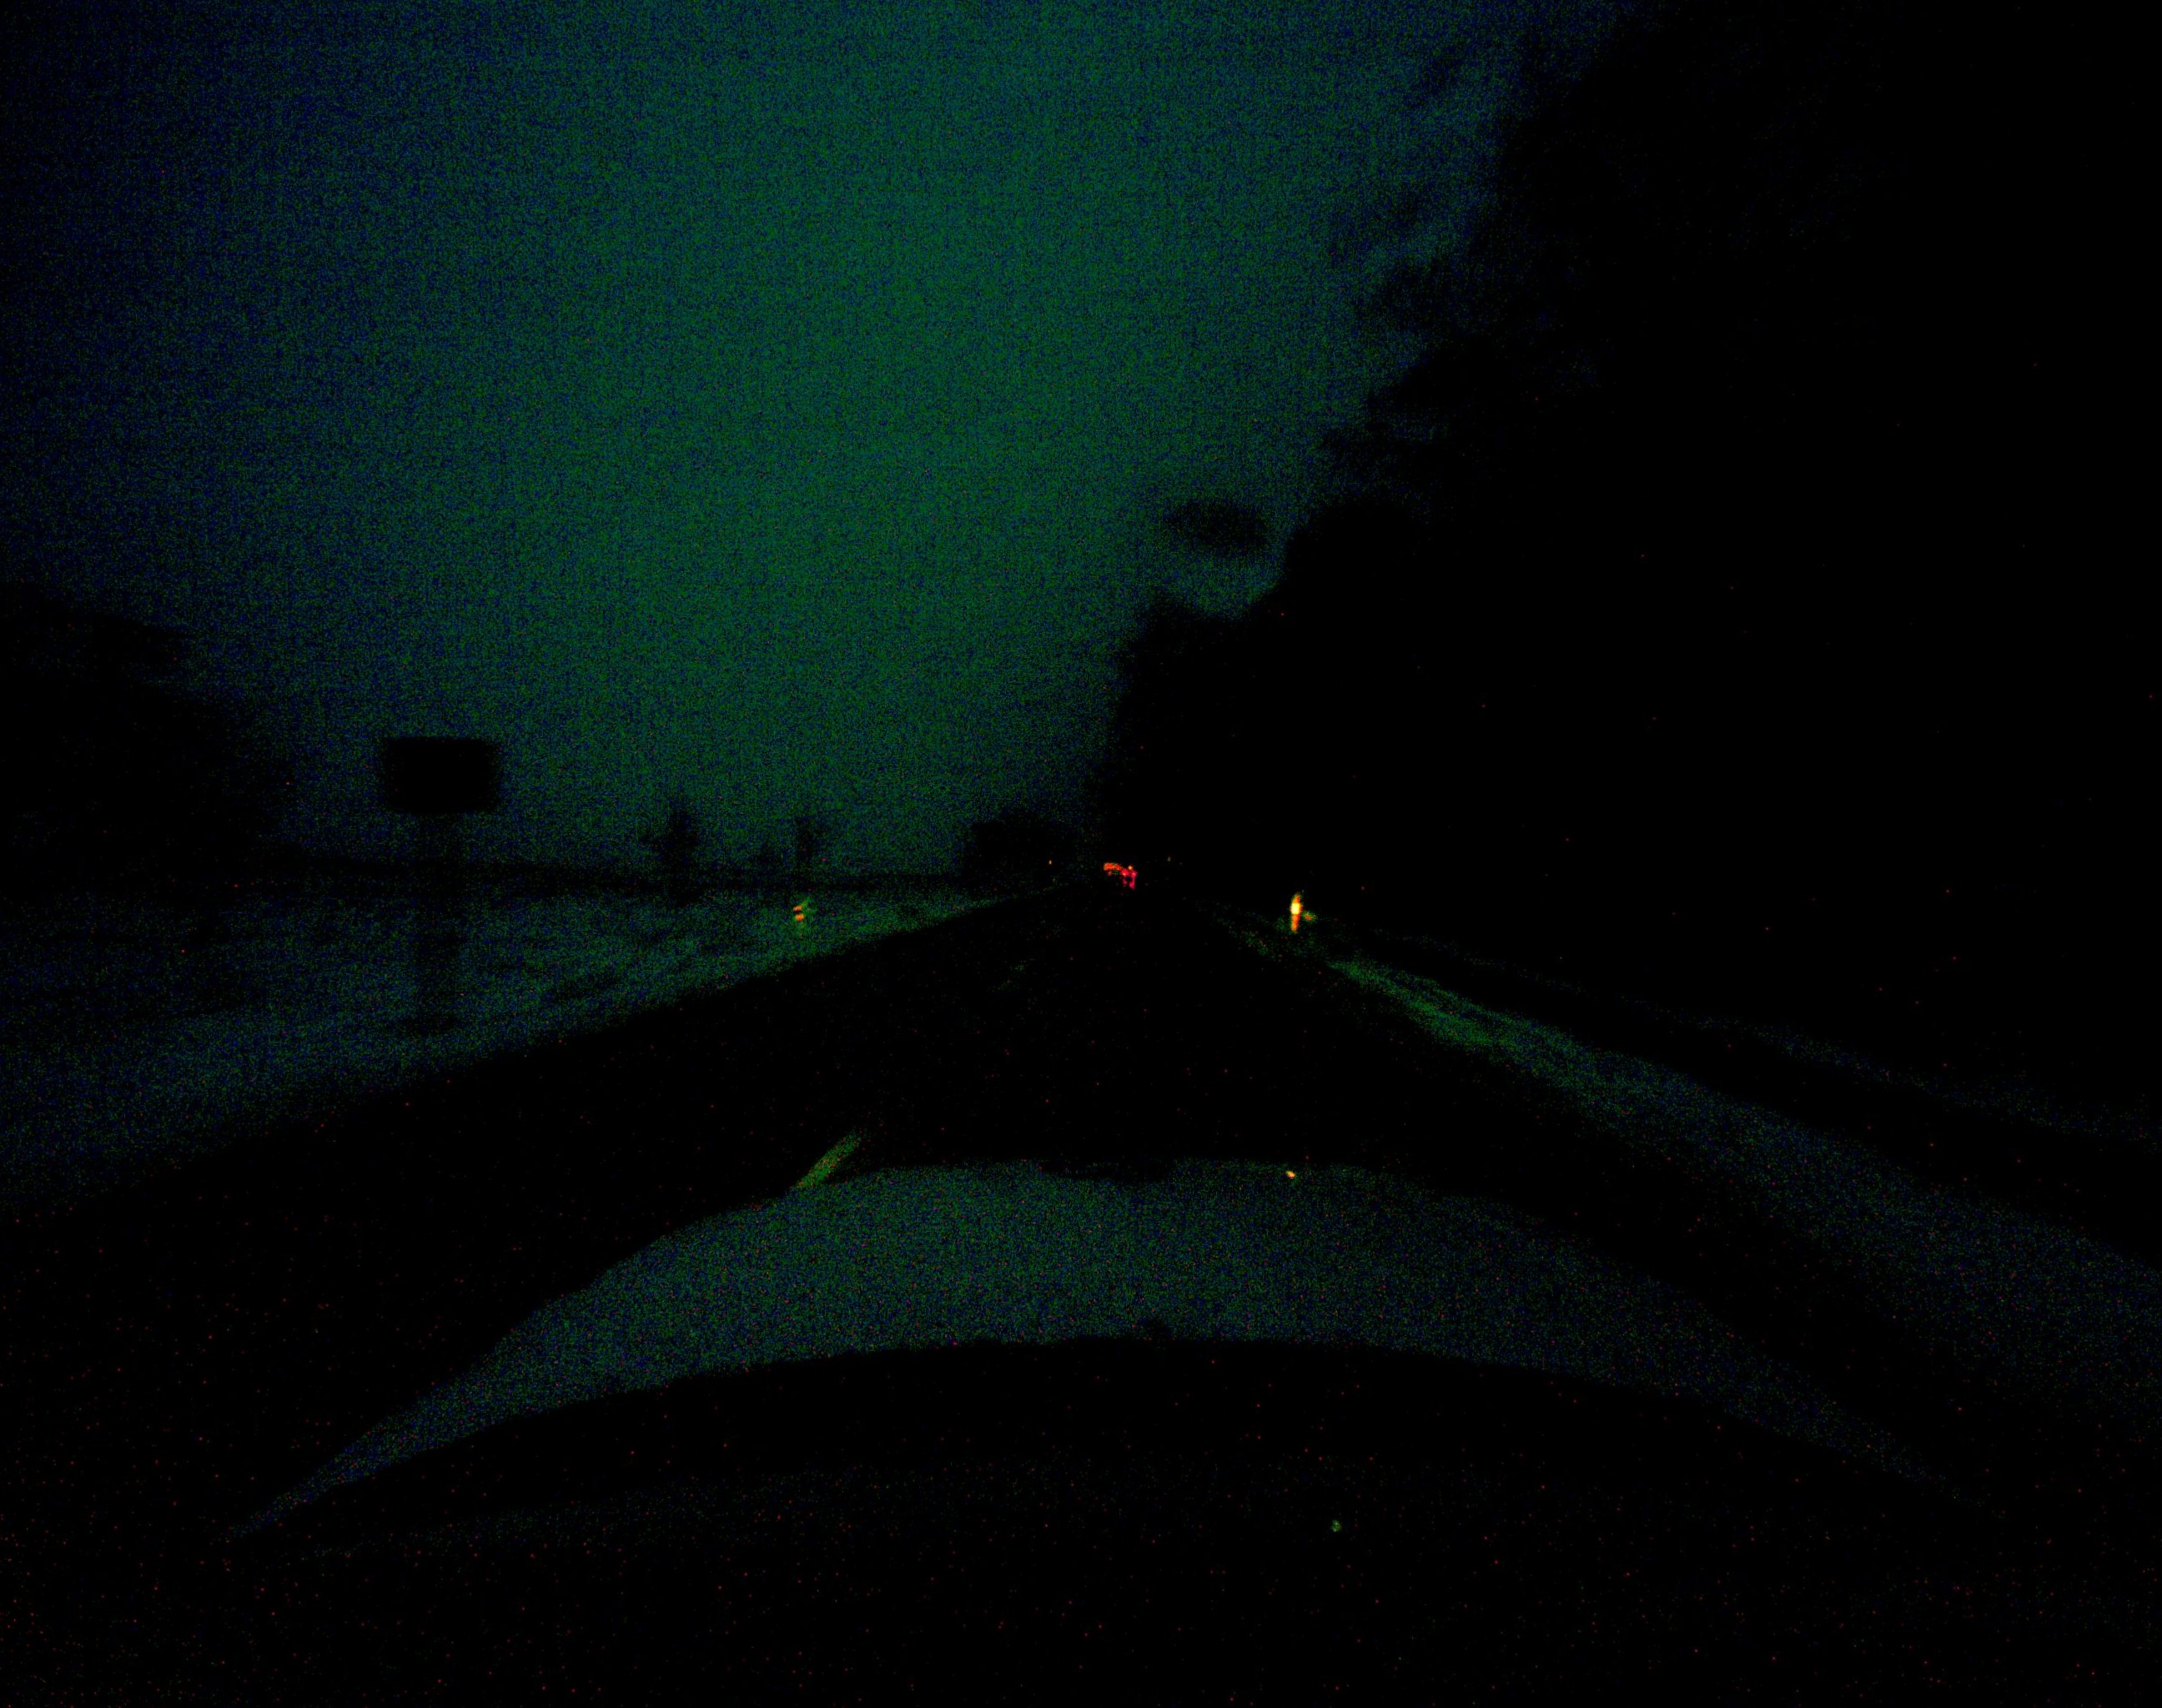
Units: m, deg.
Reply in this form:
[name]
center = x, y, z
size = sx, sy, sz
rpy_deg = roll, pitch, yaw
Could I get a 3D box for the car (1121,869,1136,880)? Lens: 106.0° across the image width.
[car]
center = 6.706, 2.872, 114.717
size = 1.986, 1.420, 4.001
rpy_deg = -2, -1, 2
